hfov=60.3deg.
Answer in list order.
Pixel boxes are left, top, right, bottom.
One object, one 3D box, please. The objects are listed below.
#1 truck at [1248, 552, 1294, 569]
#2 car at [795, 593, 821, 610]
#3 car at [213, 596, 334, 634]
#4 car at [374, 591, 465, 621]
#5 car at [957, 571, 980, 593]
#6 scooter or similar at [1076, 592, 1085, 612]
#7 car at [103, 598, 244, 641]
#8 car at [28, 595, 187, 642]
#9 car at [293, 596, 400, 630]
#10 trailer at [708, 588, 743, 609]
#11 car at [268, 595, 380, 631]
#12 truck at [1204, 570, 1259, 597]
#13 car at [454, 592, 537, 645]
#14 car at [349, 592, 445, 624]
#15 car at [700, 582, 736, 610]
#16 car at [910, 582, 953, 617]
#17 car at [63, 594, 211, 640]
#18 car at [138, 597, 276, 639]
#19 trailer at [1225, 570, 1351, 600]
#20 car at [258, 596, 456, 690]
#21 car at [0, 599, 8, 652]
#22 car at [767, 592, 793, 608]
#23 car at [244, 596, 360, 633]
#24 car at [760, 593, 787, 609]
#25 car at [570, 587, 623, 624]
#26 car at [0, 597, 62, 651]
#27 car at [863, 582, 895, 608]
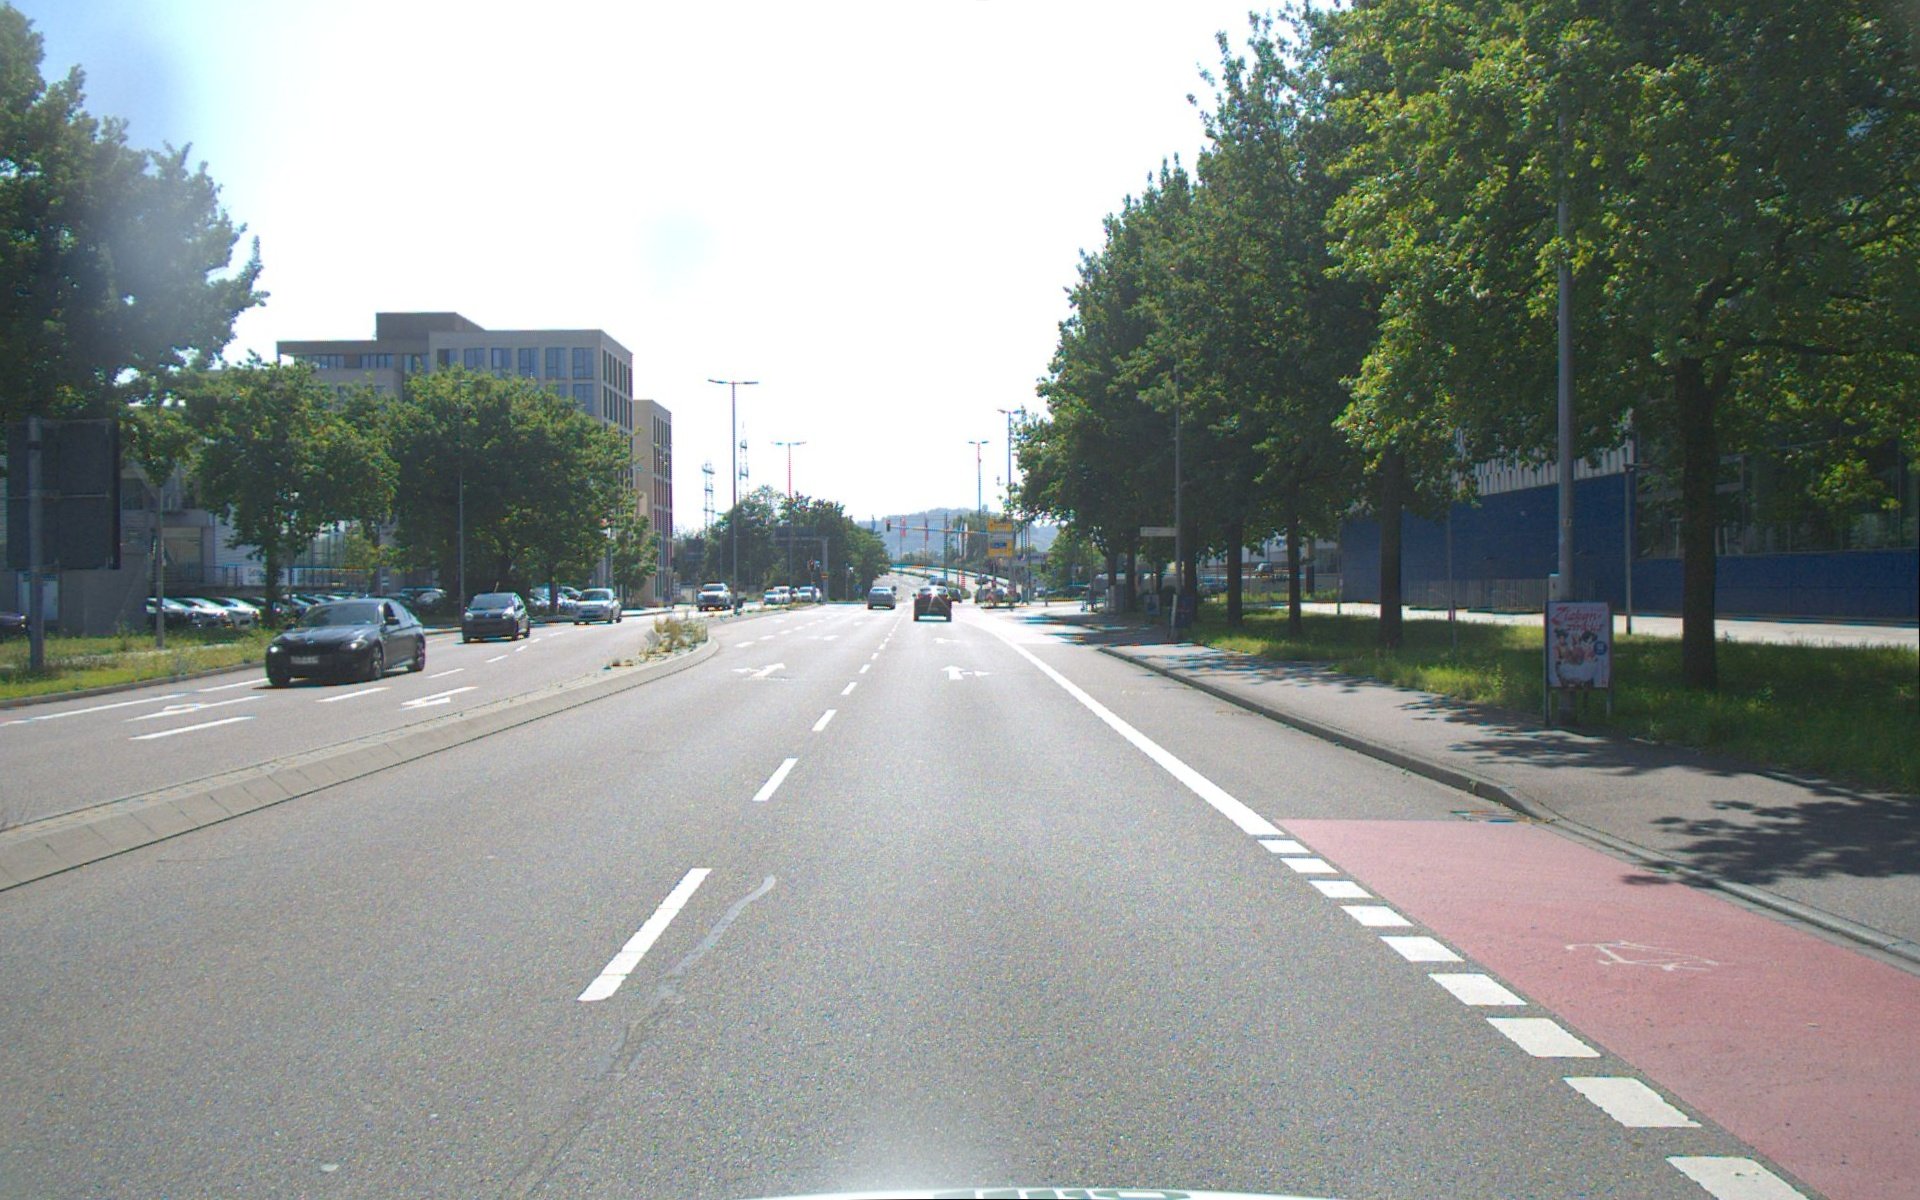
[{"bbox_3d":[41.363,-5.239,219.992,5.787,2.048,2.001,2,1,1],"label":"truck"},{"bbox_3d":[-14.298,0.121,155.572,1.777,1.489,4.002,-1,0,4],"label":"car"},{"bbox_3d":[-26.748,0.561,64.539,3.905,1.400,1.924,-1,0,-1],"label":"car"},{"bbox_3d":[-26.854,0.299,82.260,3.905,1.400,1.924,-1,0,-1],"label":"car"},{"bbox_3d":[0.755,-1.623,148.768,1.723,1.789,3.601,1,2,-4],"label":"car"},{"bbox_3d":[7.577,0.116,103.923,0.343,1.255,1.312,-1,0,13],"label":"scooter or similar"},{"bbox_3d":[-26.805,0.652,56.452,3.905,1.400,1.865,-1,0,-1],"label":"car"},{"bbox_3d":[-26.740,0.566,51.974,3.905,1.400,2.000,-1,0,-1],"label":"car"},{"bbox_3d":[-26.626,0.543,71.827,3.905,1.400,1.924,-1,0,-1],"label":"car"},{"bbox_3d":[-17.003,-0.135,120.078,1.954,1.478,5.769,-1,0,-3],"label":"trailer"},{"bbox_3d":[-26.709,0.538,69.552,3.905,1.400,1.924,-1,0,-1],"label":"car"},{"bbox_3d":[25.970,-1.576,158.284,4.782,2.466,2.000,1,1,-2],"label":"truck"},{"bbox_3d":[-14.042,0.533,50.184,1.749,1.439,3.994,-3,1,-7],"label":"car"},{"bbox_3d":[-26.887,0.376,79.044,3.905,1.400,1.924,-1,0,-1],"label":"car"},{"bbox_3d":[-16.772,-0.301,114.756,1.954,1.864,4.935,-1,0,-3],"label":"car"},{"bbox_3d":[-1.359,-0.048,80.325,1.769,1.668,4.460,-1,1,2],"label":"car"},{"bbox_3d":[-26.957,0.546,54.252,3.905,1.400,1.865,-1,0,-1],"label":"car"},{"bbox_3d":[-26.917,0.639,59.226,3.959,1.400,2.025,-1,0,-1],"label":"car"},{"bbox_3d":[31.374,-1.458,158.455,11.630,2.512,2.000,2,1,-1],"label":"trailer"},{"bbox_3d":[-11.041,0.731,30.697,1.804,1.489,4.999,-3,0,0],"label":"car"},{"bbox_3d":[-26.862,0.691,42.031,4.177,1.374,1.954,-1,0,1],"label":"car"},{"bbox_3d":[-17.595,0.027,161.827,1.777,1.489,4.002,-1,0,4],"label":"car"},{"bbox_3d":[-26.678,0.564,67.152,3.905,1.400,1.924,-1,0,-1],"label":"car"},{"bbox_3d":[-17.394,0.078,154.344,1.852,1.489,4.002,-1,0,4],"label":"car"},{"bbox_3d":[-15.542,0.219,70.900,1.621,1.489,3.548,-2,0,-3],"label":"car"},{"bbox_3d":[-26.611,0.648,44.142,4.177,1.374,1.954,-1,0,1],"label":"car"},{"bbox_3d":[-5.575,-0.381,113.847,1.953,1.713,4.000,-1,0,0],"label":"car"}]
